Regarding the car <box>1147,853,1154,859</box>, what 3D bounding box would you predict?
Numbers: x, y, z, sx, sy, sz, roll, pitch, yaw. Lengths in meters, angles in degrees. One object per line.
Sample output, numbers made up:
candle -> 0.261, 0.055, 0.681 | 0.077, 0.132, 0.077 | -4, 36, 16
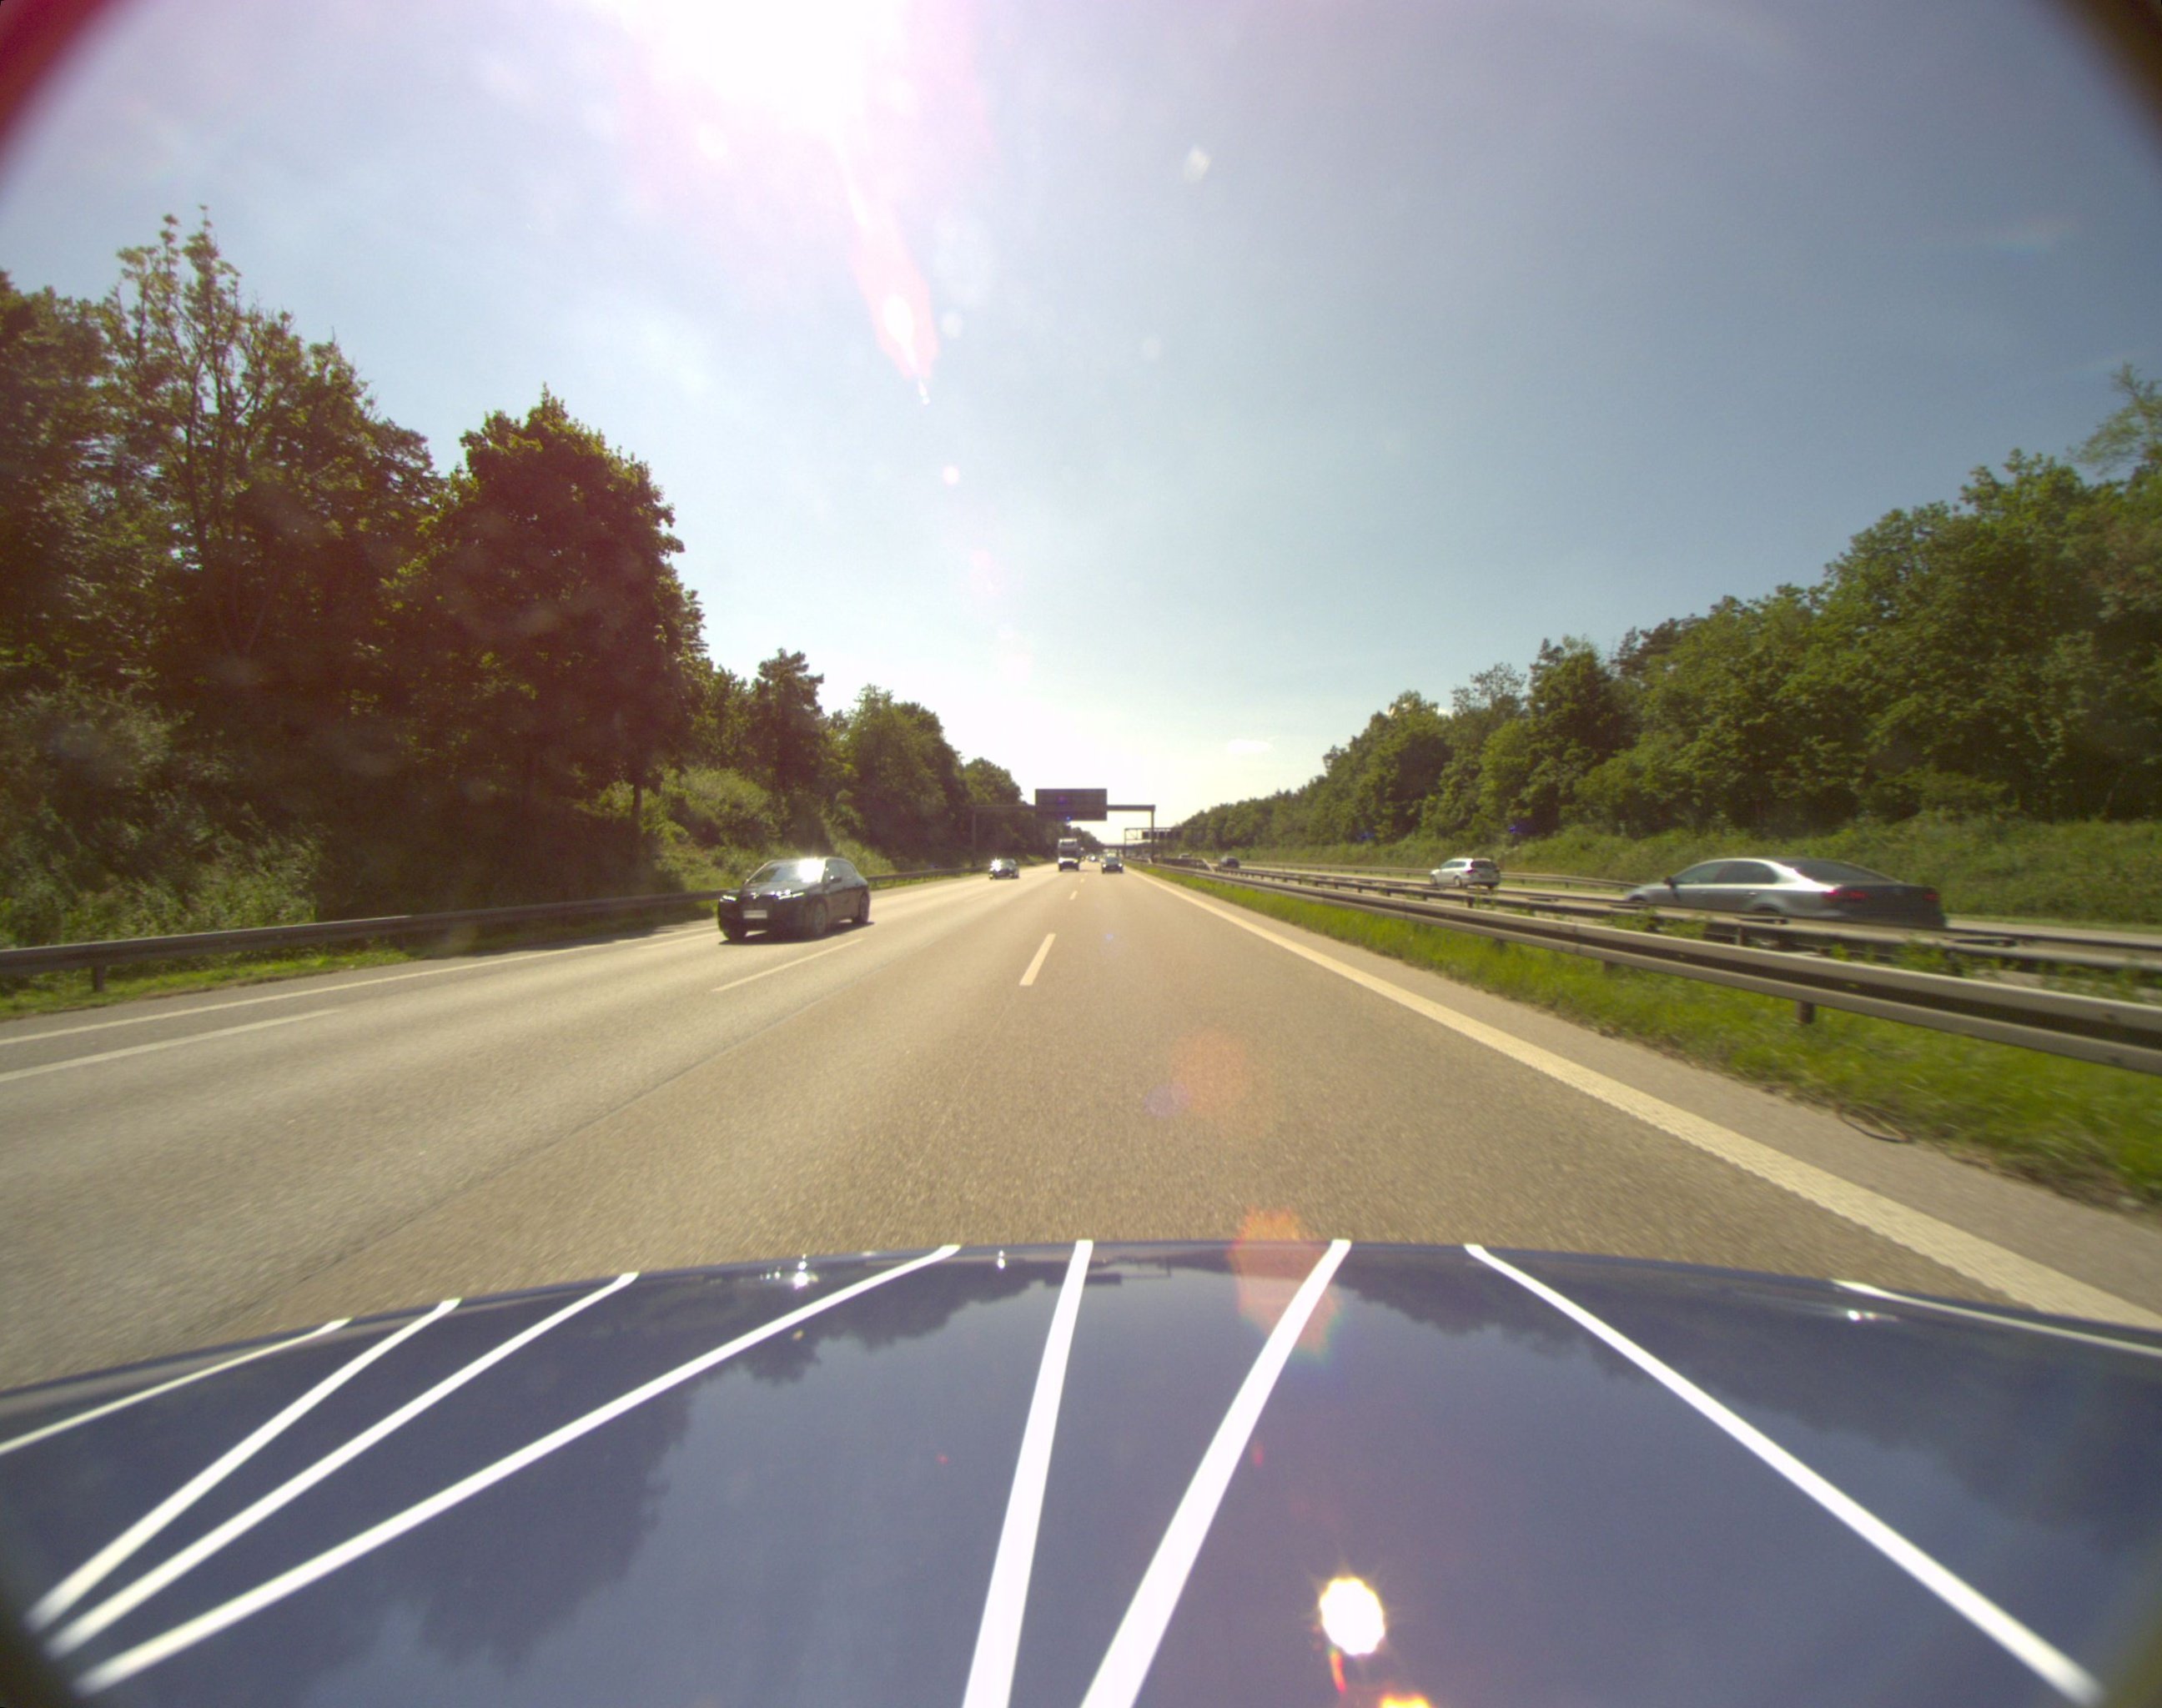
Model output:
car -> 22.586, 0.623, 247.758 | 1.949, 1.701, 3.797 | -1, 0, 0

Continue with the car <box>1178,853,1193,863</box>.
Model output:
car -> 17.946, 0.691, 130.692 | 1.782, 1.624, 5.540 | 2, 0, 2

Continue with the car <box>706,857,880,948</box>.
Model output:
car -> -6.200, 0.959, 17.082 | 1.924, 1.659, 4.687 | -2, 0, 2

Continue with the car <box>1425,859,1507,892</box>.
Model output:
car -> 19.075, 1.022, 37.914 | 1.632, 1.483, 4.941 | 2, 0, 1

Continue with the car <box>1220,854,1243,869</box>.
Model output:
car -> 16.725, 0.800, 84.496 | 1.760, 1.559, 4.430 | 2, 0, 1

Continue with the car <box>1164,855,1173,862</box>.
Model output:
car -> 19.444, 0.951, 169.473 | 1.599, 1.433, 3.542 | 2, 0, 0

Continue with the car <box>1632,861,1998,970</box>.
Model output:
car -> 10.992, 0.806, 11.930 | 1.489, 1.348, 4.417 | 0, 0, 1

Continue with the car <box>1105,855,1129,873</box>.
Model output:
car -> 2.992, 0.825, 63.865 | 1.814, 1.483, 3.728 | -1, 0, 0

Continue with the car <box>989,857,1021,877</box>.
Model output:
car -> -5.597, 0.935, 56.087 | 1.916, 1.390, 4.138 | -1, 0, 0

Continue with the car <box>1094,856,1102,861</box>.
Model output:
car -> 3.999, 1.090, 181.587 | 1.831, 1.346, 3.679 | 0, 0, 1

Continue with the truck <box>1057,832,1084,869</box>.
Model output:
truck -> -1.020, -0.363, 79.312 | 2.676, 3.661, 6.483 | -1, 0, 0
